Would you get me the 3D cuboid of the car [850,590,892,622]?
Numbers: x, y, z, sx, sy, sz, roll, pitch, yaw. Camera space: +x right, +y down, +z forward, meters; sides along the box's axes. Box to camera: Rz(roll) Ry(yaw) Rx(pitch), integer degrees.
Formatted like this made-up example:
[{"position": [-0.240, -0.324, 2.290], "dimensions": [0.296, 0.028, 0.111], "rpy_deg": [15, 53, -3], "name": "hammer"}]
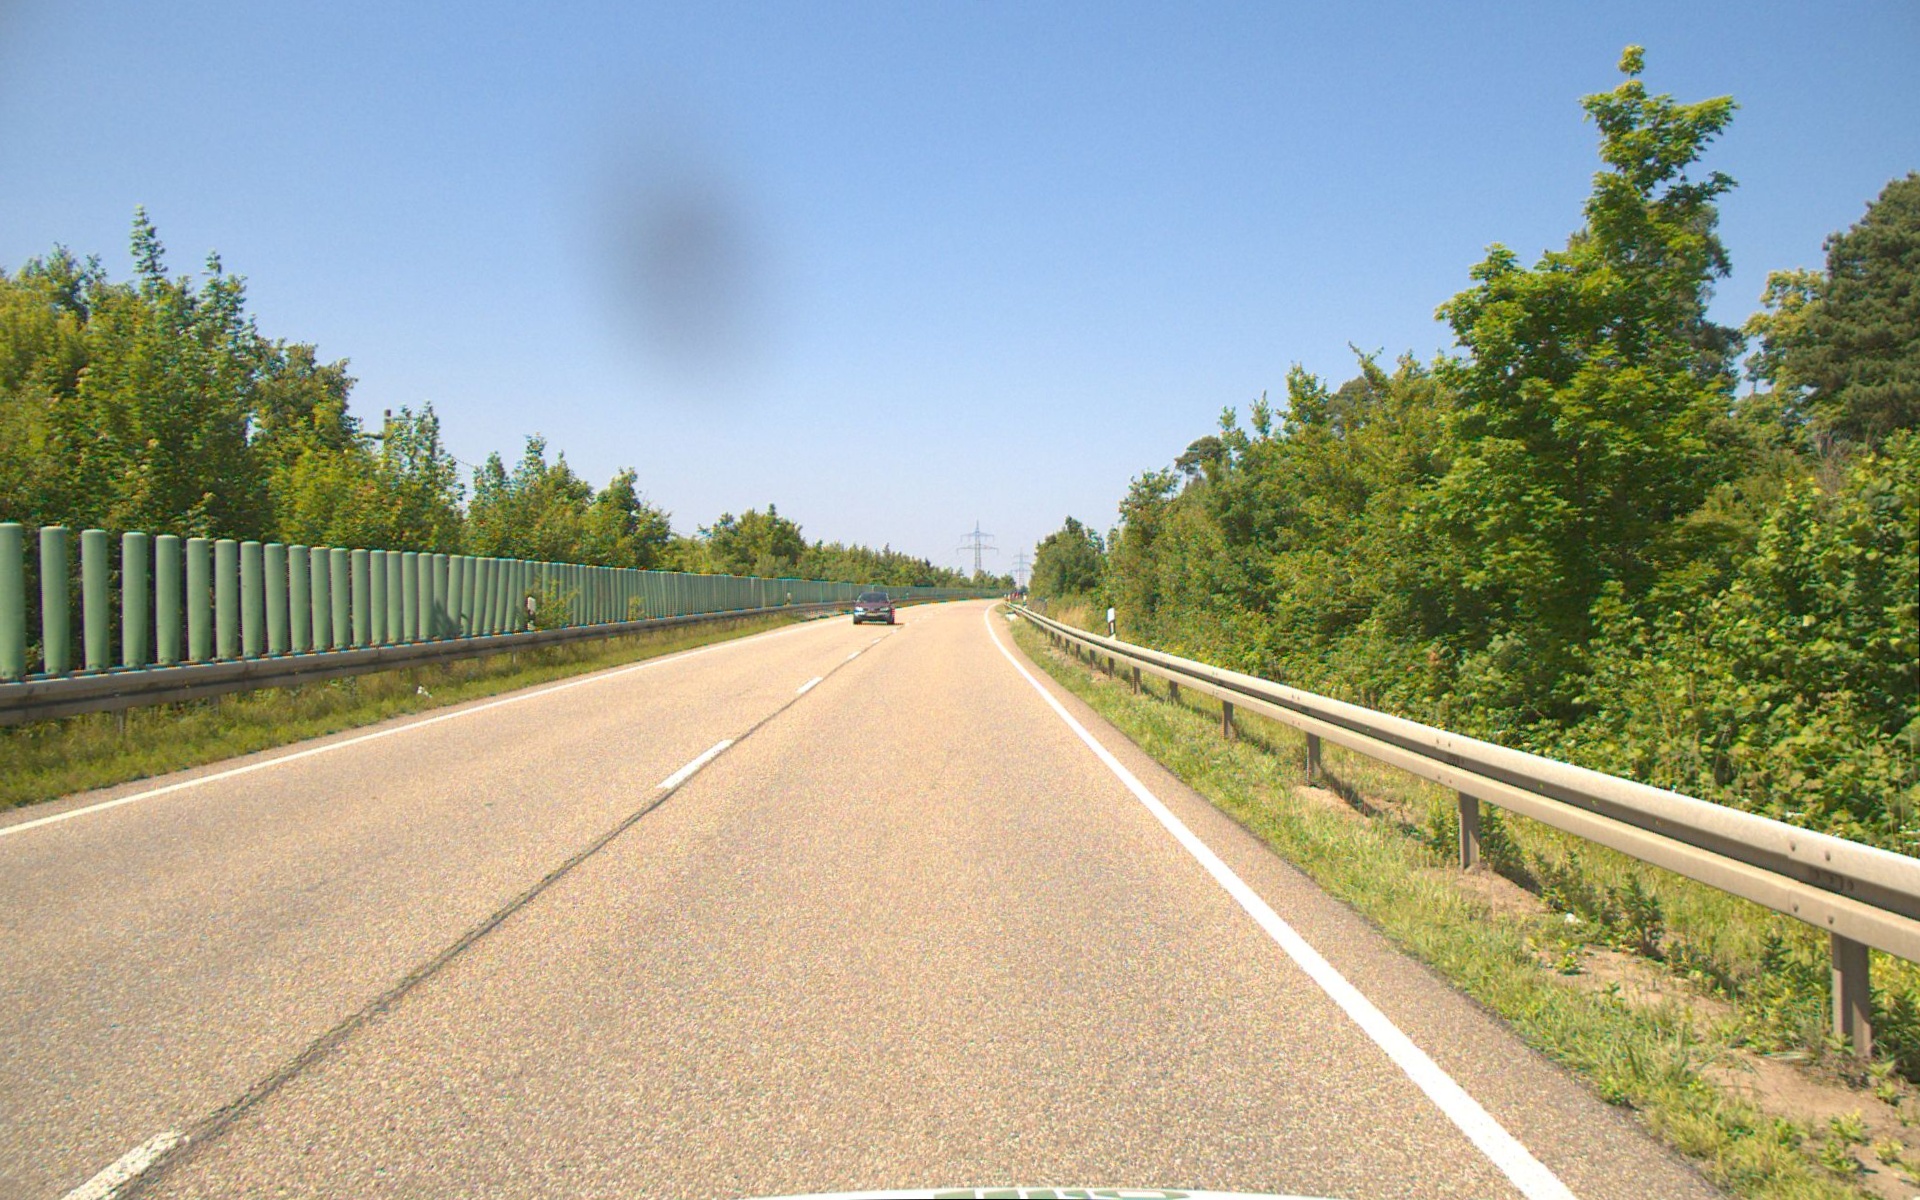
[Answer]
[{"position": [-3.965, 0.248, 74.106], "dimensions": [1.750, 1.395, 3.896], "rpy_deg": [1, 0, -2], "name": "car"}]
